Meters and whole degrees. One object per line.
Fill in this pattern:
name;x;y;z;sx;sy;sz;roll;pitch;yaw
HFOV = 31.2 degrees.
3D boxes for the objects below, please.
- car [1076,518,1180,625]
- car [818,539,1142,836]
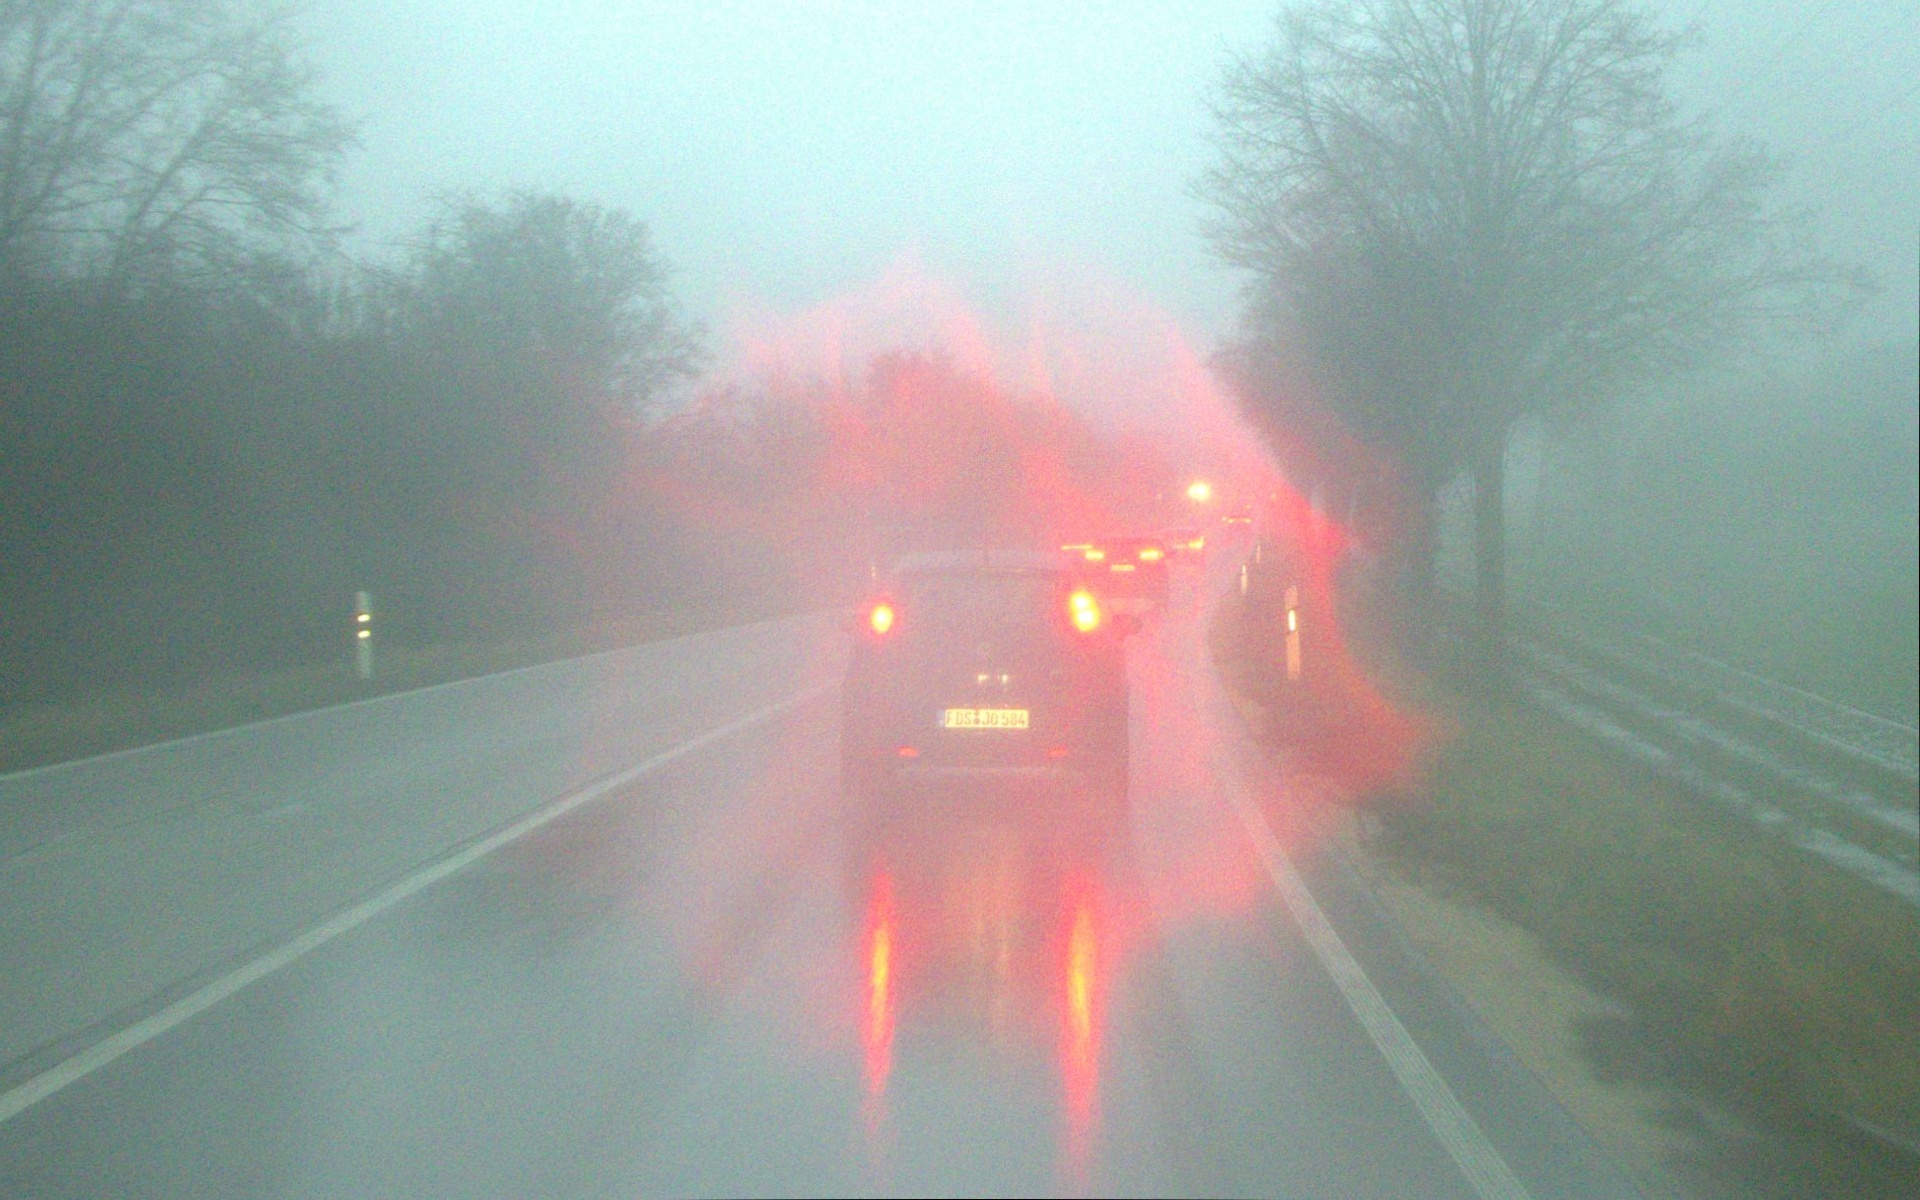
car;3.519;-0.586;72.320;1.946;2.007;4.000;-6;0;2
car;0.043;0.455;21.341;1.730;1.527;4.043;-4;2;-2
